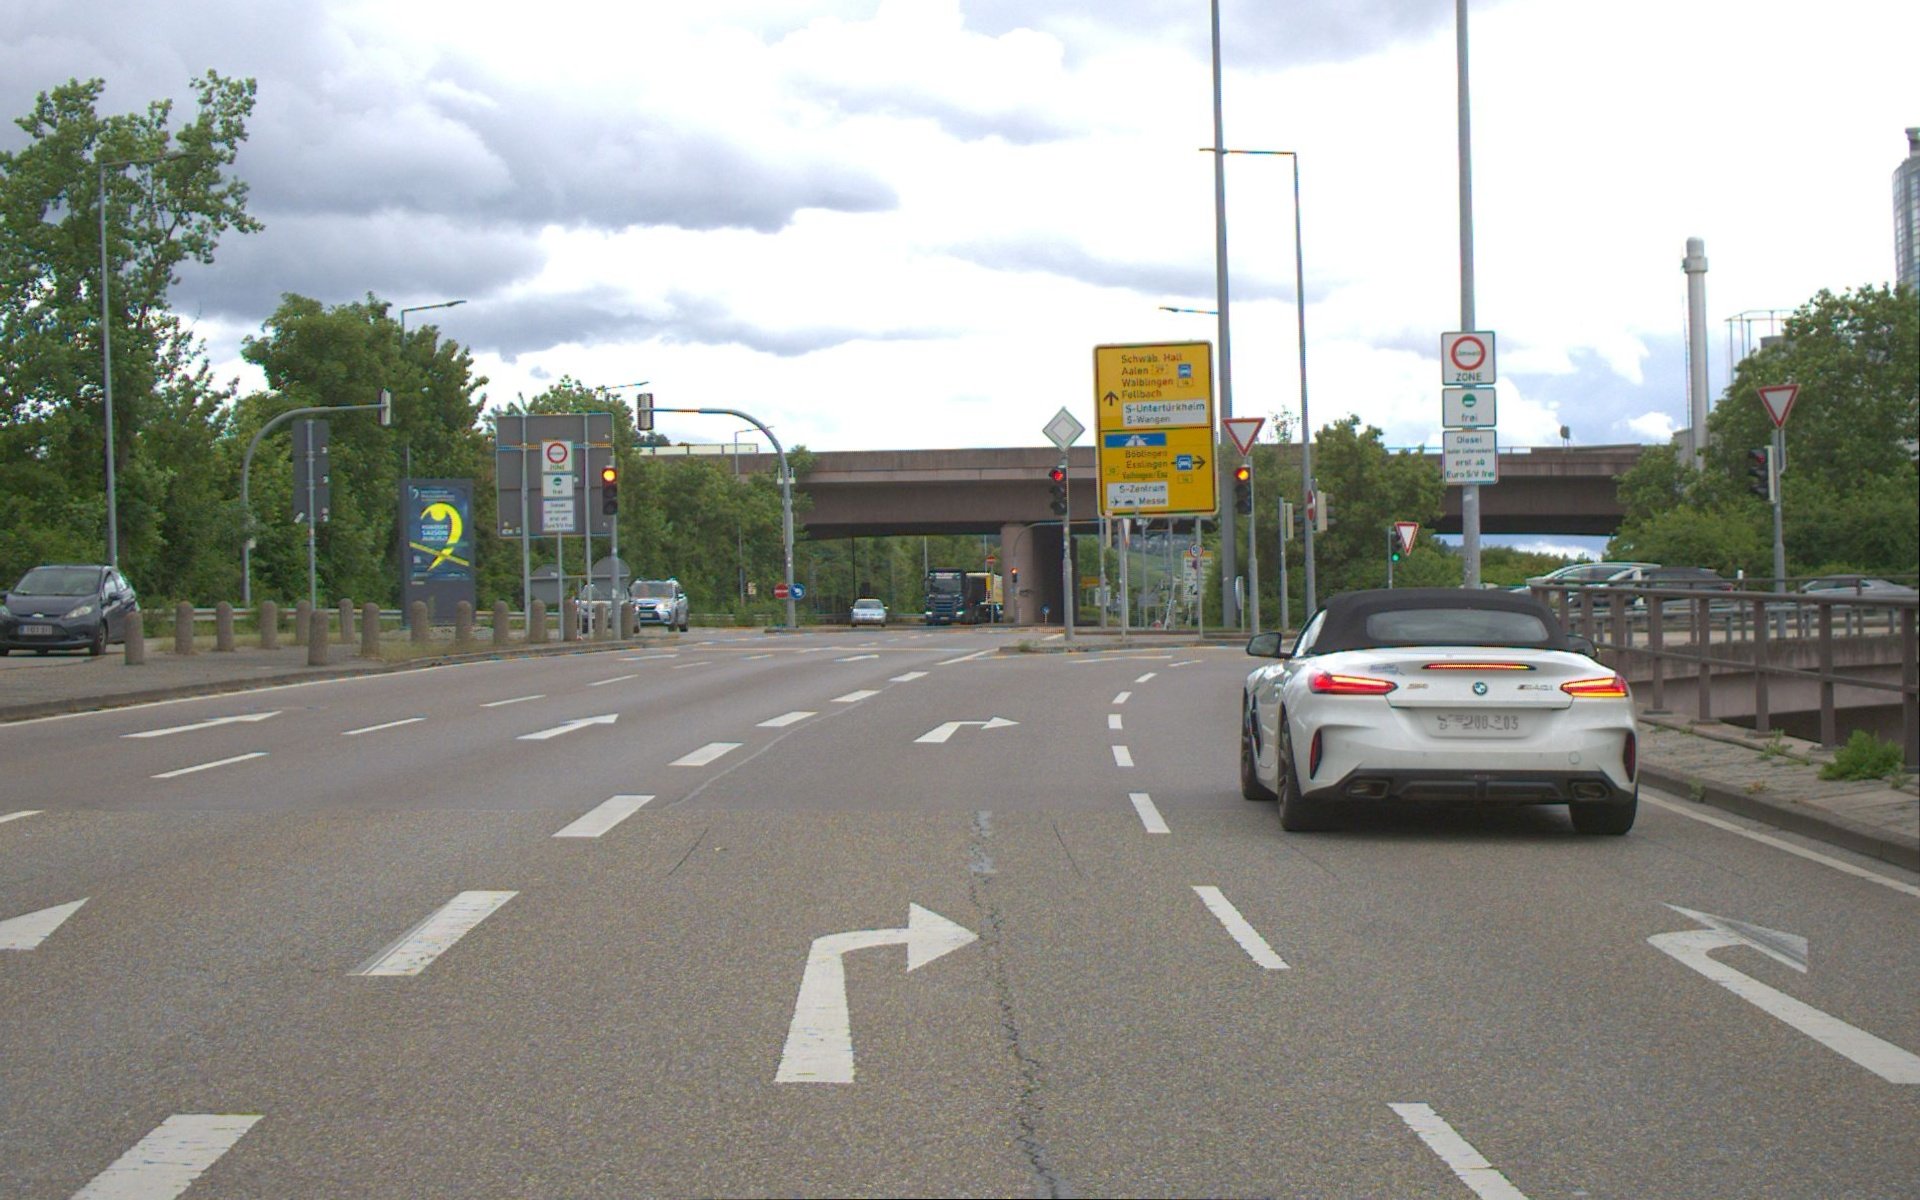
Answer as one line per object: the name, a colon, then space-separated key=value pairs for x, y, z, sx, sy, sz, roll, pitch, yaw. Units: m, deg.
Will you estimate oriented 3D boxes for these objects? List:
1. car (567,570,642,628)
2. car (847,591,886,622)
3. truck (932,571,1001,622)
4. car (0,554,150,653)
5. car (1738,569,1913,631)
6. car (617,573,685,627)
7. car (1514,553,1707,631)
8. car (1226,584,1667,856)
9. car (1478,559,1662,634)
car: x=-10.361 y=-0.043 z=100.397 sx=1.771 sy=1.639 sz=3.825 roll=1 pitch=0 yaw=0
car: x=-4.766 y=0.315 z=175.273 sx=1.741 sy=1.532 sz=3.671 roll=0 pitch=1 yaw=3
truck: x=0.470 y=-0.193 z=216.720 sx=2.924 sy=3.135 sz=10.108 roll=1 pitch=0 yaw=8
car: x=-14.082 y=0.039 z=54.147 sx=1.760 sy=1.479 sz=3.484 roll=1 pitch=0 yaw=1
car: x=23.821 y=0.013 z=94.731 sx=4.372 sy=1.565 sz=1.999 roll=-1 pitch=-2 yaw=4
car: x=-9.706 y=-0.013 z=108.280 sx=1.771 sy=1.627 sz=3.825 roll=1 pitch=0 yaw=0
car: x=15.803 y=-0.184 z=83.704 sx=4.372 sy=1.752 sz=1.999 roll=-1 pitch=-2 yaw=4
car: x=2.612 y=0.598 z=19.329 sx=1.875 sy=1.305 sz=3.873 roll=1 pitch=1 yaw=0
car: x=15.495 y=-0.082 z=87.474 sx=4.372 sy=1.752 sz=1.999 roll=-1 pitch=-2 yaw=4
